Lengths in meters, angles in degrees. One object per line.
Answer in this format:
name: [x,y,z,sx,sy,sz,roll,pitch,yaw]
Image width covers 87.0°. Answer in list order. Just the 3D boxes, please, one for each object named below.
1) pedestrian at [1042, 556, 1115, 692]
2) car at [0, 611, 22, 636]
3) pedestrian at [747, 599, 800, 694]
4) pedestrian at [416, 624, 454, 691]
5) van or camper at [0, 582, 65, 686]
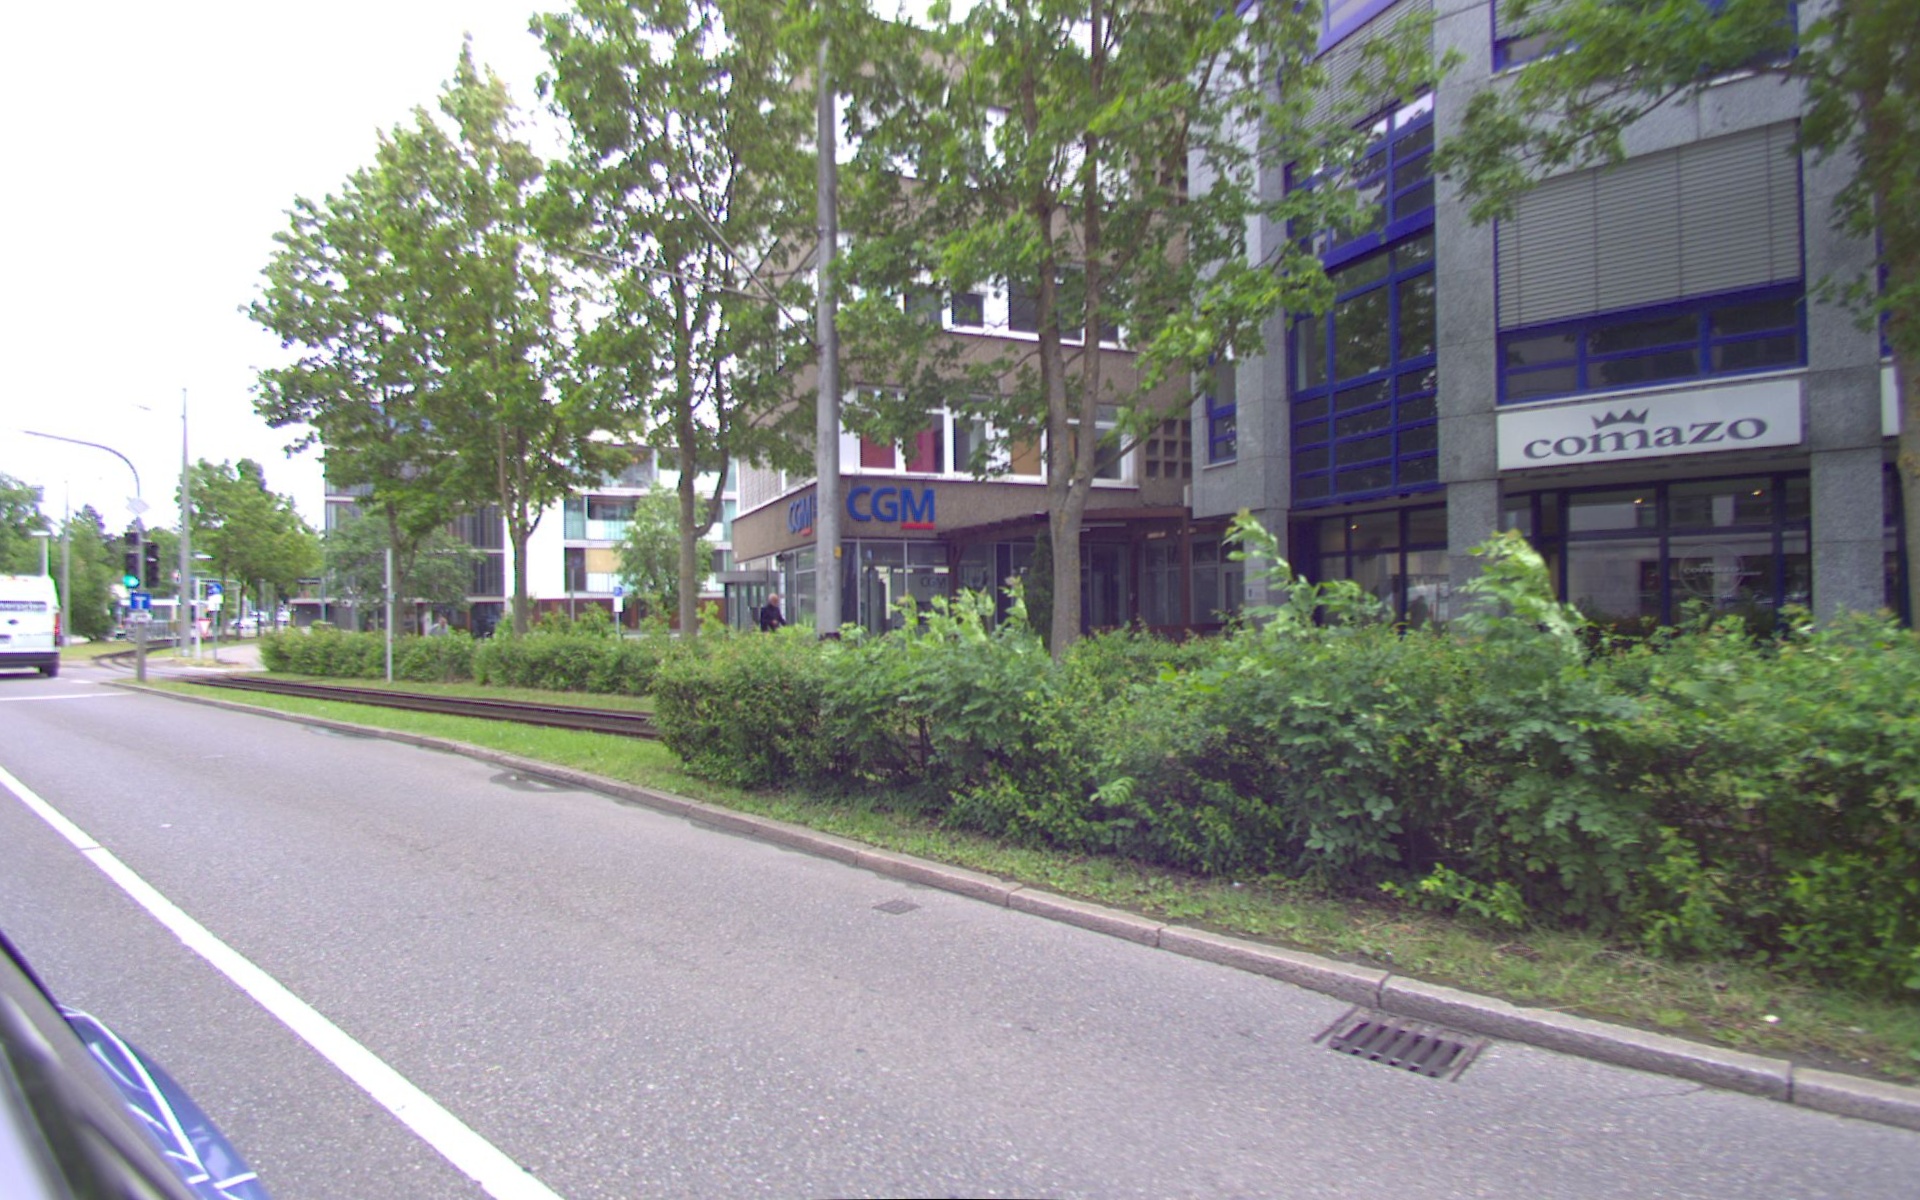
pedestrian: [1.761,0.342,14.977,0.731,1.938,0.805,-1,0,40]
car: [-80.555,1.946,84.693,1.965,2.029,4.013,-1,0,-26]
pedestrian: [-3.870,0.942,20.980,0.730,1.908,0.767,-1,0,39]
pedestrian: [-14.764,1.605,28.442,0.730,1.819,0.672,-1,0,36]
van or camper: [-27.534,0.913,29.033,6.150,2.754,2.085,-1,0,42]
